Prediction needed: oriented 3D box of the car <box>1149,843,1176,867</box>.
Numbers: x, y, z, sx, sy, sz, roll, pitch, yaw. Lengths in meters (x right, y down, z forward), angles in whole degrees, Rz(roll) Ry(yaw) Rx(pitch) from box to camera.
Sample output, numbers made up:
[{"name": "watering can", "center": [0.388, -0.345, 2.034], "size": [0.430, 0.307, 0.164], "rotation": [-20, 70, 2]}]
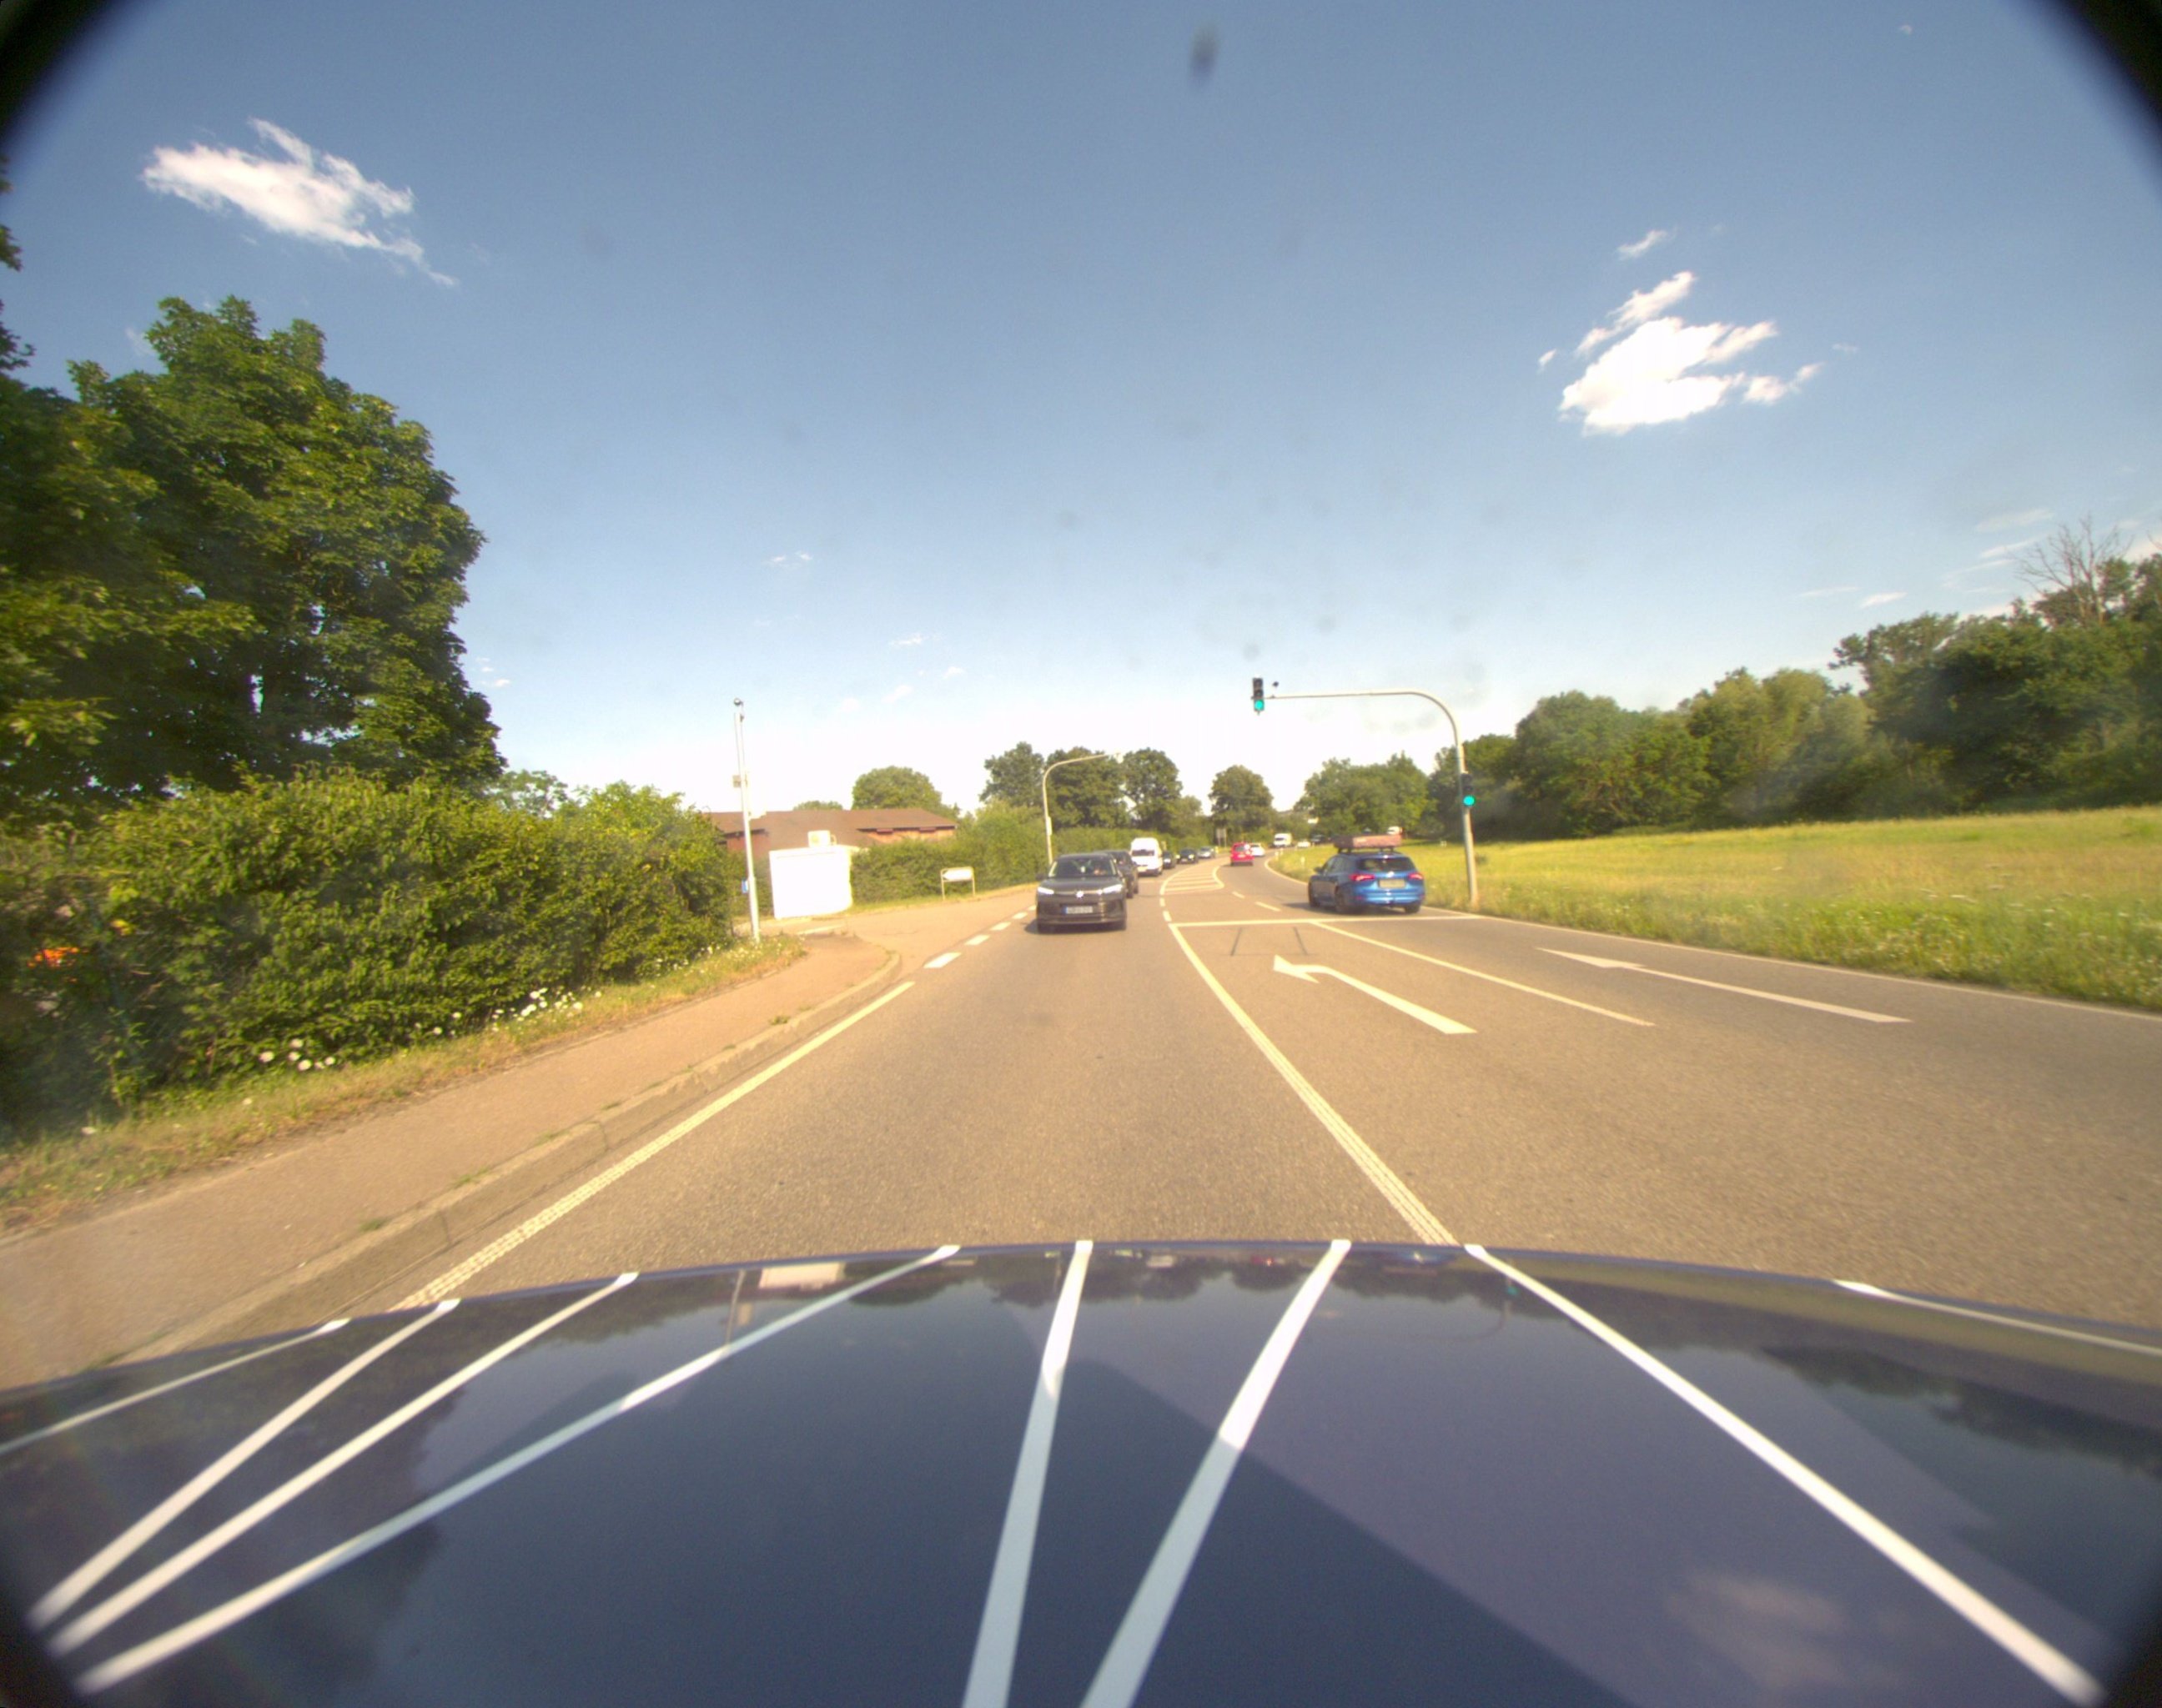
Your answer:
[{"name": "car", "center": [6.456, 0.044, 59.710], "size": [1.692, 1.718, 3.671], "rotation": [-2, 1, 12]}]

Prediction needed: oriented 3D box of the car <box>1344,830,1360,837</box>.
[{"name": "car", "center": [57.395, -4.332, 160.887], "size": [1.928, 1.577, 4.081], "rotation": [0, 2, 39]}]

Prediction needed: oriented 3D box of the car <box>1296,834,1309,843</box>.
[{"name": "car", "center": [38.494, -2.714, 131.860], "size": [1.747, 1.458, 3.484], "rotation": [-1, 1, 22]}]

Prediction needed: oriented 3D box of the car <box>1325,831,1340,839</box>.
[{"name": "car", "center": [55.019, -4.144, 166.107], "size": [1.995, 1.543, 4.006], "rotation": [-5, 0, 34]}]

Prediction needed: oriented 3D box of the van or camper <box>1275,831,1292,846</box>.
[{"name": "van or camper", "center": [36.573, -2.807, 137.099], "size": [2.031, 2.461, 5.084], "rotation": [-4, 0, 23]}]

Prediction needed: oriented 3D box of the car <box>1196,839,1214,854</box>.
[{"name": "car", "center": [14.618, -0.891, 89.672], "size": [1.632, 1.550, 3.420], "rotation": [-1, 2, 17]}]

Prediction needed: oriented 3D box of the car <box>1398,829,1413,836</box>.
[{"name": "car", "center": [80.211, -5.266, 187.720], "size": [1.995, 1.543, 4.007], "rotation": [-5, 0, 42]}]

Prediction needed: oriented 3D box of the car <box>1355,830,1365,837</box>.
[{"name": "car", "center": [67.567, -4.909, 183.902], "size": [1.415, 1.540, 3.172], "rotation": [-4, 0, 38]}]

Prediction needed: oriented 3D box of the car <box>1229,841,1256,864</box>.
[{"name": "car", "center": [13.141, -0.149, 62.029], "size": [1.884, 1.765, 4.325], "rotation": [-1, 0, 10]}]

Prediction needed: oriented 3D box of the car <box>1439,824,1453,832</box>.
[{"name": "car", "center": [99.856, -7.048, 207.848], "size": [4.007, 1.846, 1.995], "rotation": [-5, 0, -43]}]

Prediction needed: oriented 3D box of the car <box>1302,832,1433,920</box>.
[{"name": "car", "center": [6.823, 0.478, 18.610], "size": [1.728, 1.871, 4.336], "rotation": [-1, 0, 3]}]

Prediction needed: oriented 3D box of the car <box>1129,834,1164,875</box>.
[{"name": "car", "center": [4.100, -0.014, 47.087], "size": [1.843, 2.338, 4.791], "rotation": [-1, 1, 8]}]

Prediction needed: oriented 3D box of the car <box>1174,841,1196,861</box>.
[{"name": "car", "center": [9.937, -0.300, 72.413], "size": [1.672, 1.718, 3.671], "rotation": [-2, 1, 13]}]

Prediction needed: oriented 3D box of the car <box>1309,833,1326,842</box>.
[{"name": "car", "center": [48.624, -3.459, 156.220], "size": [1.995, 1.543, 4.007], "rotation": [-5, 0, 36]}]

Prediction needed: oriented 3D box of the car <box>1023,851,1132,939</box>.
[{"name": "car", "center": [0.066, 0.796, 16.776], "size": [1.864, 1.633, 4.002], "rotation": [-1, 1, 7]}]

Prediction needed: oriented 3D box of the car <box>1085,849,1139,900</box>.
[{"name": "car", "center": [1.207, 0.691, 27.895], "size": [1.658, 1.720, 3.806], "rotation": [-1, 0, 7]}]

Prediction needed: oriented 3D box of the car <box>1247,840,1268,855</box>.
[{"name": "car", "center": [20.759, -0.745, 89.253], "size": [1.882, 1.577, 4.336], "rotation": [-1, 0, 20]}]
